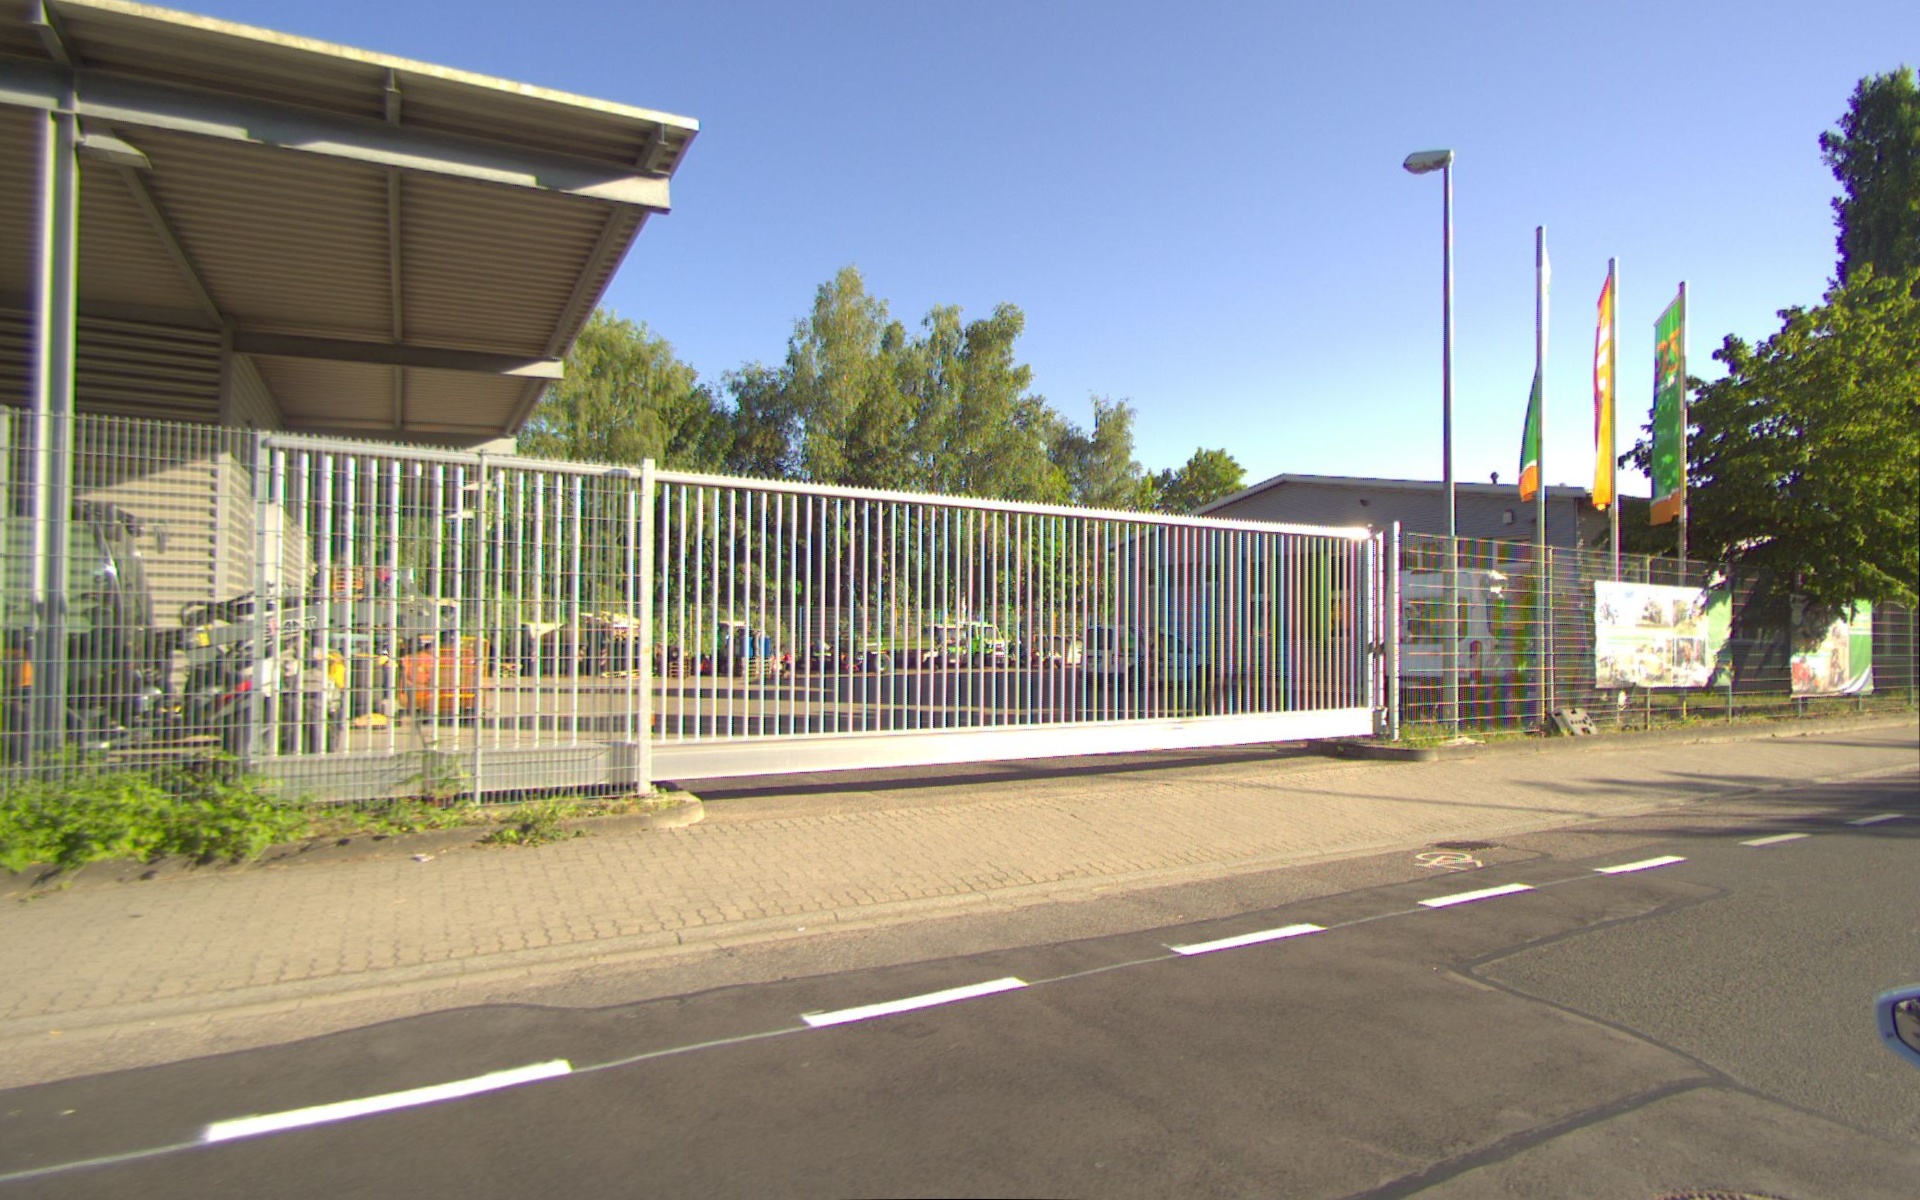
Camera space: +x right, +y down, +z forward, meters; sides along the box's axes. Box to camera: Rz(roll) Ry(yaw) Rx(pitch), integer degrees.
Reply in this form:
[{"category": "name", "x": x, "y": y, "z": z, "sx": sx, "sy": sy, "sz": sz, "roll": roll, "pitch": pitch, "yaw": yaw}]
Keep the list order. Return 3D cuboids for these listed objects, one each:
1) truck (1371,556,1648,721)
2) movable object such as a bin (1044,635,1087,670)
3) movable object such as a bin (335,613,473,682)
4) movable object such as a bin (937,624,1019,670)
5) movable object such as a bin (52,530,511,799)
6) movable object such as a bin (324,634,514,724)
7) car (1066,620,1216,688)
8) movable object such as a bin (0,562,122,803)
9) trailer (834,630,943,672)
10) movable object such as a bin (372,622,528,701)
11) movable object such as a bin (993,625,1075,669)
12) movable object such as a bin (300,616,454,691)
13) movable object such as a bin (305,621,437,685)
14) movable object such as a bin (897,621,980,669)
[{"category": "truck", "x": 10.663, "y": 0.764, "z": 19.370, "sx": 5.697, "sy": 2.797, "sz": 2.069, "roll": 2, "pitch": -3, "yaw": -30}, {"category": "movable object such as a bin", "x": 5.298, "y": 2.630, "z": 50.288, "sx": 1.346, "sy": 1.692, "sz": 1.783, "roll": 1, "pitch": -2, "yaw": -32}, {"category": "movable object such as a bin", "x": -13.003, "y": 1.123, "z": 23.566, "sx": 2.726, "sy": 1.510, "sz": 1.321, "roll": 3, "pitch": -3, "yaw": -30}, {"category": "movable object such as a bin", "x": 0.804, "y": 2.155, "z": 46.388, "sx": 1.978, "sy": 2.040, "sz": 3.966, "roll": 1, "pitch": -2, "yaw": -32}, {"category": "movable object such as a bin", "x": -5.769, "y": 0.529, "z": 8.886, "sx": 3.064, "sy": 1.960, "sz": 1.648, "roll": 2, "pitch": -2, "yaw": -33}, {"category": "movable object such as a bin", "x": -8.730, "y": 1.231, "z": 16.257, "sx": 2.608, "sy": 1.349, "sz": 1.160, "roll": 2, "pitch": -2, "yaw": -33}, {"category": "car", "x": 5.230, "y": 1.556, "z": 28.977, "sx": 3.953, "sy": 1.839, "sz": 1.984, "roll": 2, "pitch": -3, "yaw": -30}, {"category": "movable object such as a bin", "x": -7.927, "y": 0.606, "z": 7.975, "sx": 1.508, "sy": 1.702, "sz": 2.625, "roll": 1, "pitch": -2, "yaw": -31}, {"category": "trailer", "x": -2.871, "y": 2.035, "z": 40.408, "sx": 3.952, "sy": 1.609, "sz": 1.985, "roll": 1, "pitch": -2, "yaw": -29}, {"category": "movable object such as a bin", "x": -10.459, "y": 1.268, "z": 20.656, "sx": 2.726, "sy": 1.510, "sz": 1.321, "roll": 3, "pitch": -3, "yaw": -30}, {"category": "movable object such as a bin", "x": 3.490, "y": 2.231, "z": 48.120, "sx": 1.978, "sy": 2.040, "sz": 3.966, "roll": 1, "pitch": -2, "yaw": -32}, {"category": "movable object such as a bin", "x": -12.428, "y": 1.159, "z": 21.526, "sx": 2.726, "sy": 1.510, "sz": 1.321, "roll": 3, "pitch": -3, "yaw": -30}, {"category": "movable object such as a bin", "x": -14.657, "y": 1.341, "z": 25.080, "sx": 2.727, "sy": 1.510, "sz": 1.321, "roll": 3, "pitch": -3, "yaw": -31}, {"category": "movable object such as a bin", "x": -1.009, "y": 1.980, "z": 45.060, "sx": 1.978, "sy": 2.040, "sz": 3.966, "roll": 1, "pitch": -2, "yaw": -32}]
